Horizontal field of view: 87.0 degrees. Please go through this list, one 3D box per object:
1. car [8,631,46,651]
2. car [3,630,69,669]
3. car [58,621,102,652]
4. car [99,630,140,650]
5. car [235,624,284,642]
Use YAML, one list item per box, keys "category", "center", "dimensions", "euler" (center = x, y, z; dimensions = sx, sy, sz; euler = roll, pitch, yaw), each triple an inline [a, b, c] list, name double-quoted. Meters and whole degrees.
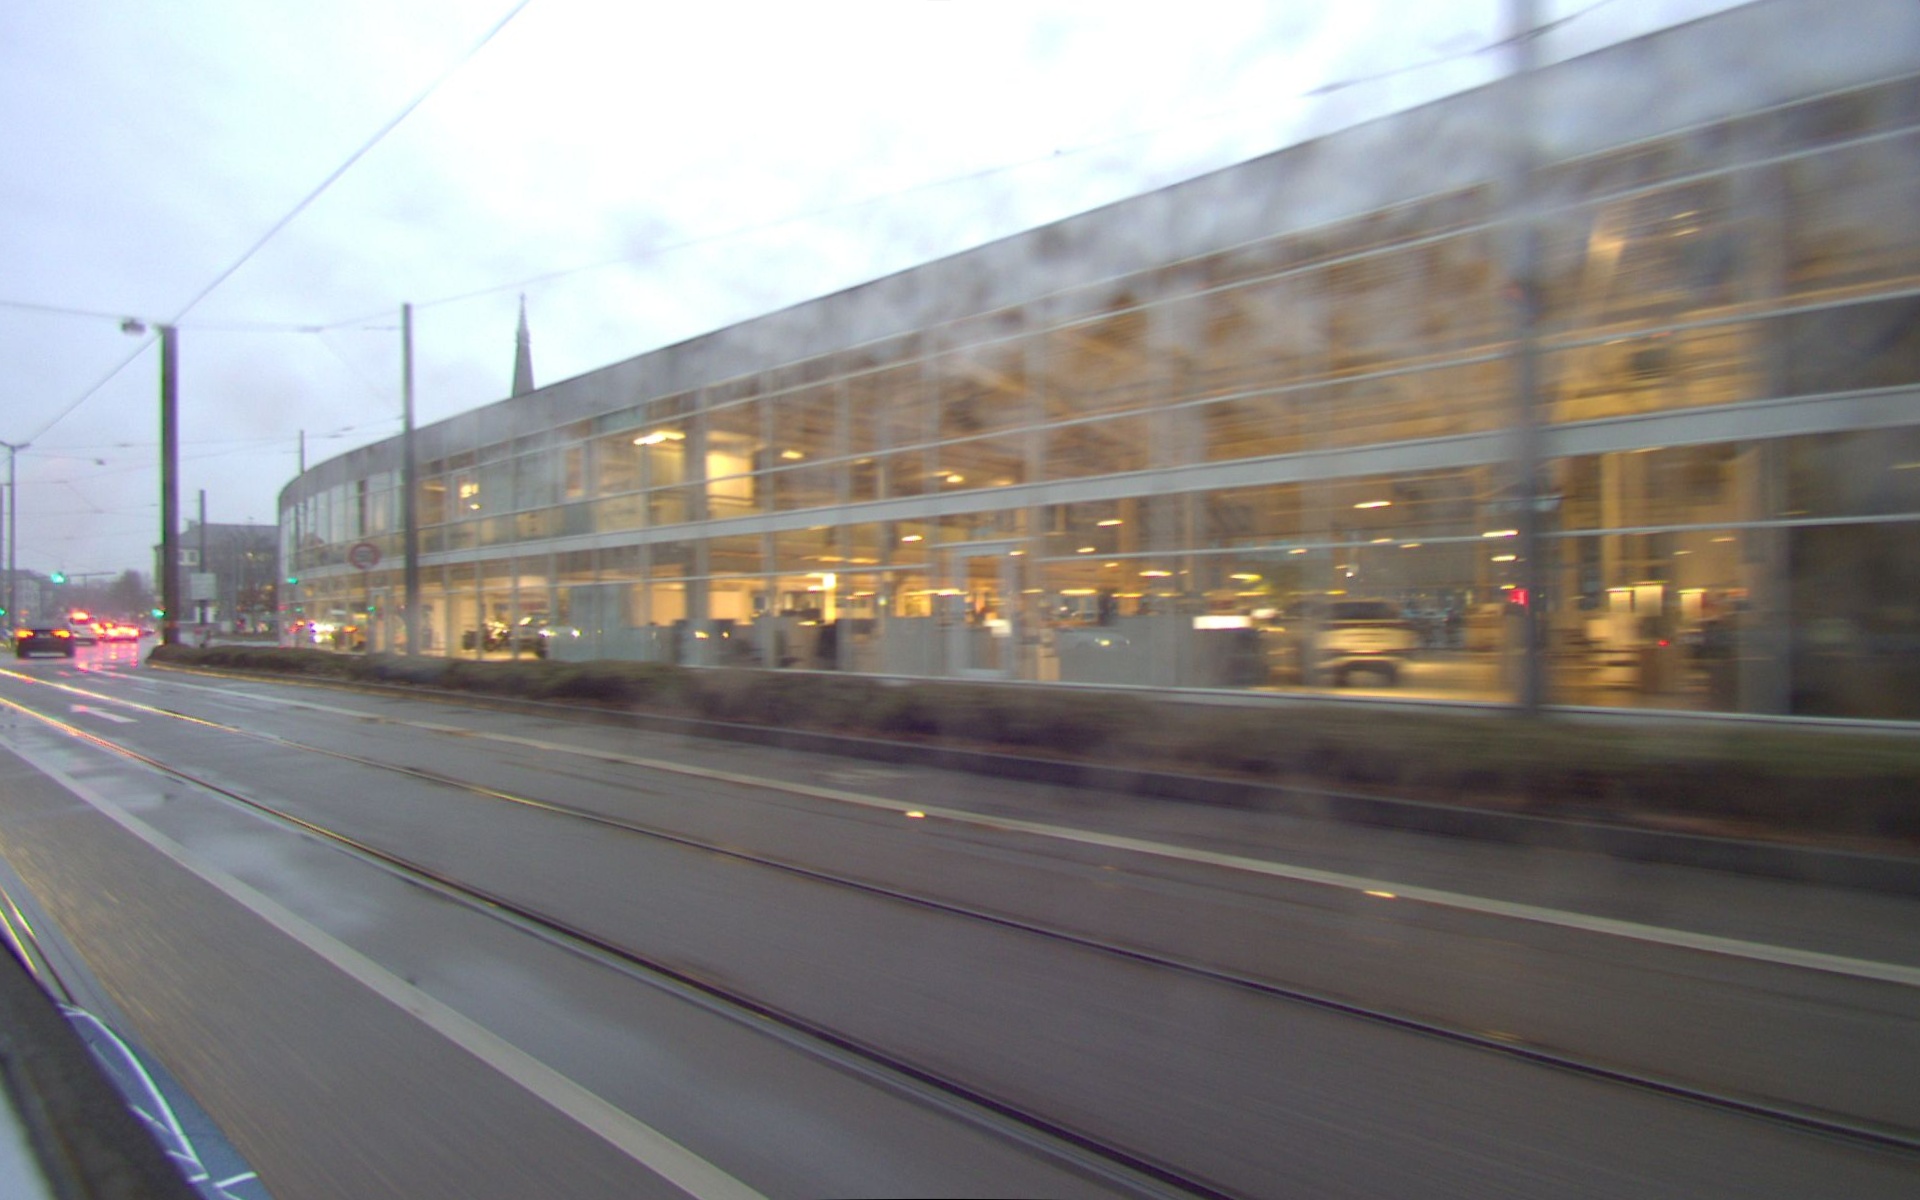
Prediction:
- category: "car"
  center: [-71.734, 3.139, 77.794]
  dimensions: [4.001, 1.401, 1.850]
  euler: [-1, -3, 44]
- category: "car"
  center: [-41.014, 2.144, 44.877]
  dimensions: [4.442, 1.590, 1.821]
  euler: [-1, -1, 43]
- category: "car"
  center: [-61.356, 2.514, 70.533]
  dimensions: [4.687, 2.029, 1.971]
  euler: [-1, 0, 45]
- category: "car"
  center: [-65.034, 3.044, 78.293]
  dimensions: [4.589, 1.432, 1.971]
  euler: [-1, -1, 44]
- category: "car"
  center: [-87.746, 4.107, 126.859]
  dimensions: [1.974, 2.029, 5.547]
  euler: [-1, 0, 3]
